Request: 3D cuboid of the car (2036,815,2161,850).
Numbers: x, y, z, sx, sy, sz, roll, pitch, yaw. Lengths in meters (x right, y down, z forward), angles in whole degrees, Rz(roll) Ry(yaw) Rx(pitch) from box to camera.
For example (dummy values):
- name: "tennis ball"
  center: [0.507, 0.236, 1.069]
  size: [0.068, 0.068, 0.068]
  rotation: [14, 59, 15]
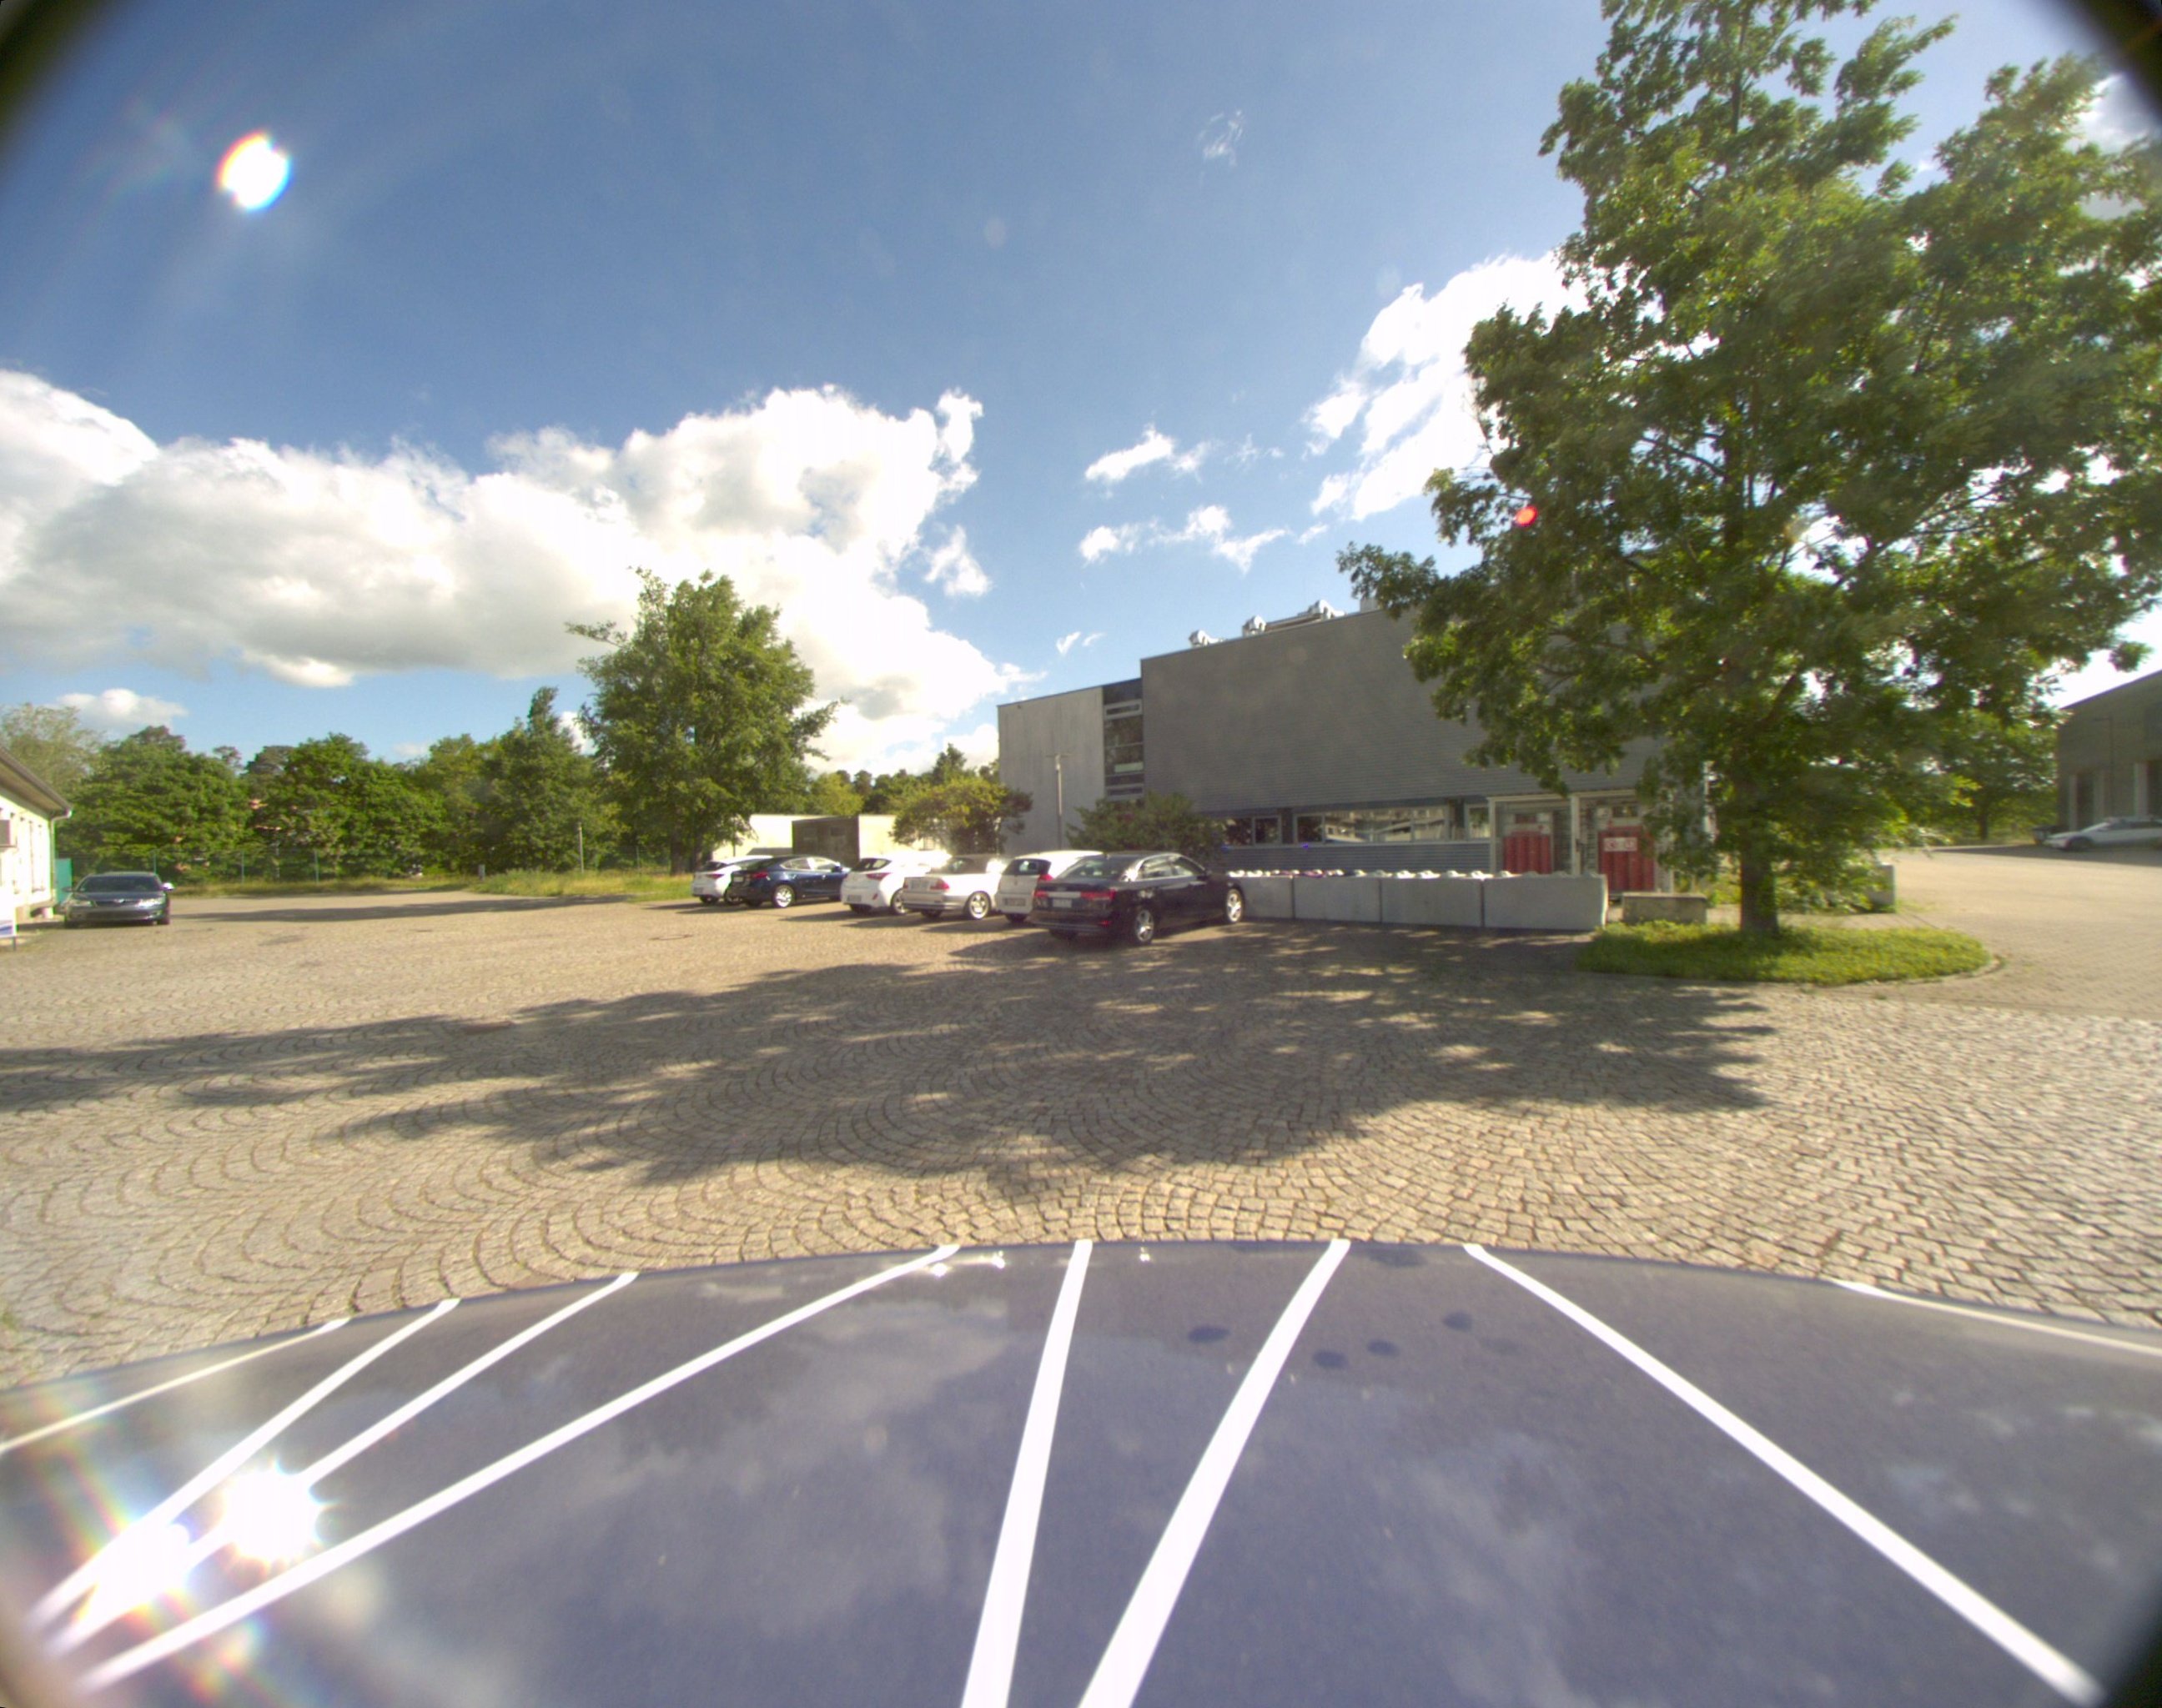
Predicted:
- name: "car"
  center: [53.112, -1.111, 39.113]
  size: [4.566, 1.653, 2.004]
  rotation: [-1, 1, 39]

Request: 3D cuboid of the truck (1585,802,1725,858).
- name: "truck"
  center: [42.210, -1.648, 56.051]
  size: [8.080, 3.795, 2.656]
  rotation: [-1, 1, 41]

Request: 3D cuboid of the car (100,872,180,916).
- name: "car"
  center: [-34.221, 1.413, 27.722]
  size: [3.975, 1.427, 1.696]
  rotation: [-1, 0, 41]

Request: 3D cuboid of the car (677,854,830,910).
- name: "car"
  center: [-10.166, 0.814, 23.802]
  size: [1.790, 1.427, 3.932]
  rotation: [-1, 2, 41]

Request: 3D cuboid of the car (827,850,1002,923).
- name: "car"
  center: [-4.047, 0.726, 18.930]
  size: [1.750, 1.438, 3.932]
  rotation: [-1, 2, 41]

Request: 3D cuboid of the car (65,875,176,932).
- name: "car"
  center: [-26.859, 1.312, 21.362]
  size: [3.980, 1.426, 1.773]
  rotation: [-1, -2, 41]

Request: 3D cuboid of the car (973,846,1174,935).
- name: "car"
  center: [-0.038, 0.661, 15.913]
  size: [4.159, 1.452, 1.686]
  rotation: [-4, 3, -45]

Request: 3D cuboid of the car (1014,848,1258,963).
- name: "car"
  center: [1.155, 0.727, 13.102]
  size: [1.752, 1.415, 4.742]
  rotation: [-1, 2, 39]

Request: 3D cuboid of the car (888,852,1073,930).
- name: "car"
  center: [-2.163, 0.748, 17.172]
  size: [1.723, 1.364, 3.932]
  rotation: [-1, 2, 41]

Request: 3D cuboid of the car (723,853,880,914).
- name: "car"
  center: [-8.063, 0.794, 22.189]
  size: [1.687, 1.409, 3.932]
  rotation: [-1, 2, 41]
